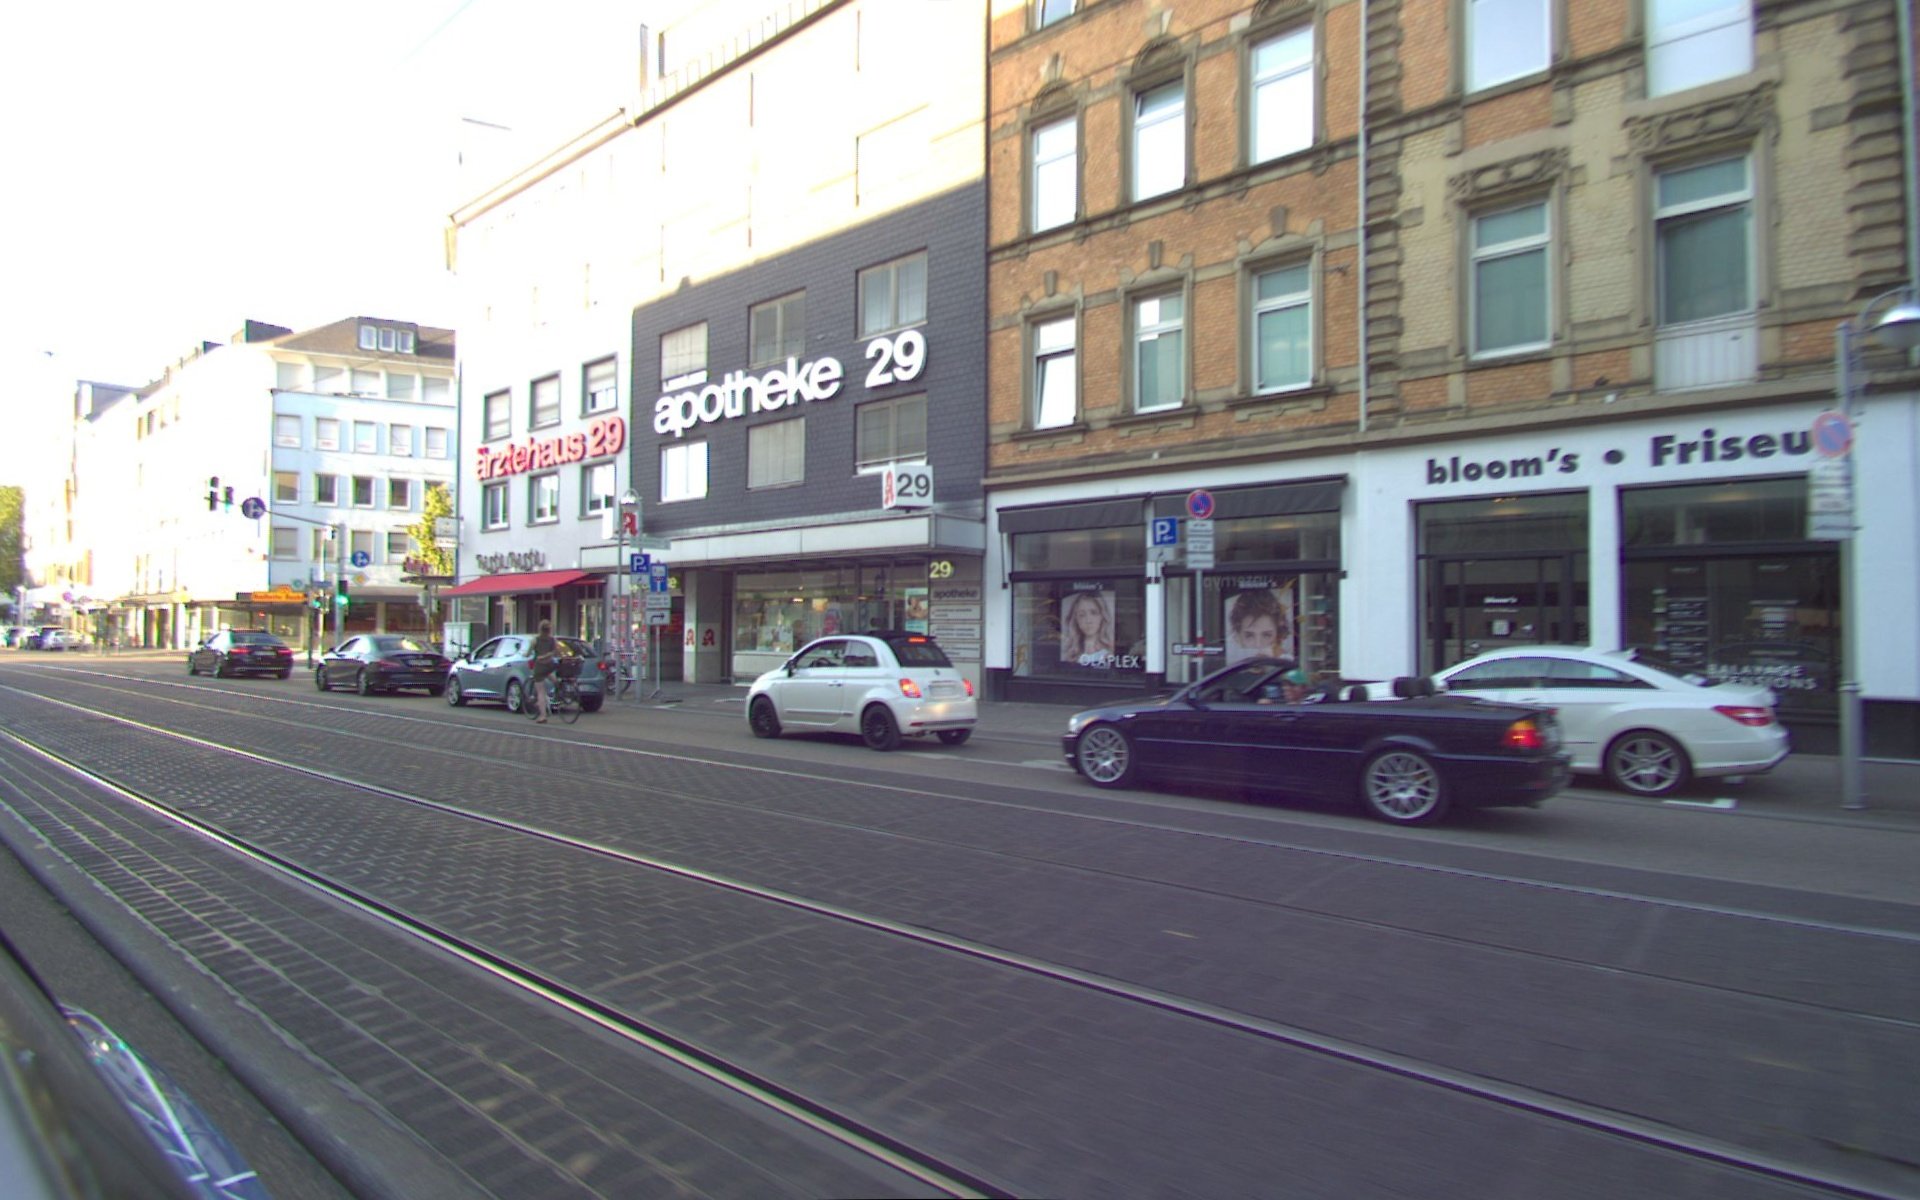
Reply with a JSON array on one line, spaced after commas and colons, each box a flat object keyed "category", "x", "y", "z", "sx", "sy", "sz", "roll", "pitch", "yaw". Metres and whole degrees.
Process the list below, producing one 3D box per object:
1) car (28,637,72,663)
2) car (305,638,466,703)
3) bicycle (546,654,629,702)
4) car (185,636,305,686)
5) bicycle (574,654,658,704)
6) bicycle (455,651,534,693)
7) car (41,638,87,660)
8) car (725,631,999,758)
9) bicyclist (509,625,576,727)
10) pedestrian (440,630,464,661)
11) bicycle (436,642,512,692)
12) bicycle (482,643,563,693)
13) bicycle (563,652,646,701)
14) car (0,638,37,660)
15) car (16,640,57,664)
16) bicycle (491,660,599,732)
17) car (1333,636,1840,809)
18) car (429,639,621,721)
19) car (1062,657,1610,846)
[{"category": "car", "x": -60.789, "y": 3.331, "z": 67.596, "sx": 4.000, "sy": 1.648, "sz": 1.823, "roll": -2, "pitch": -3, "yaw": 43}, {"category": "car", "x": -13.733, "y": 1.645, "z": 24.099, "sx": 4.561, "sy": 1.397, "sz": 1.895, "roll": -2, "pitch": -5, "yaw": 41}, {"category": "bicycle", "x": -8.874, "y": 1.846, "z": 24.192, "sx": 0.492, "sy": 0.991, "sz": 1.837, "roll": -2, "pitch": 0, "yaw": 40}, {"category": "car", "x": -21.689, "y": 1.829, "z": 30.637, "sx": 4.561, "sy": 1.397, "sz": 1.895, "roll": -2, "pitch": -5, "yaw": 41}, {"category": "bicycle", "x": -7.911, "y": 1.794, "z": 23.365, "sx": 0.462, "sy": 0.991, "sz": 1.837, "roll": -2, "pitch": 0, "yaw": 40}, {"category": "bicycle", "x": -12.606, "y": 1.939, "z": 27.465, "sx": 0.607, "sy": 0.991, "sz": 1.837, "roll": -2, "pitch": 0, "yaw": 40}, {"category": "car", "x": -57.310, "y": 3.112, "z": 64.685, "sx": 4.000, "sy": 1.304, "sz": 1.823, "roll": -2, "pitch": -3, "yaw": 43}, {"category": "car", "x": -1.422, "y": 1.222, "z": 13.962, "sx": 3.677, "sy": 1.517, "sz": 1.650, "roll": -2, "pitch": -5, "yaw": 40}, {"category": "bicyclist", "x": -6.684, "y": 1.186, "z": 16.198, "sx": 0.798, "sy": 1.577, "sz": 0.686, "roll": -2, "pitch": -3, "yaw": 39}, {"category": "pedestrian", "x": -28.578, "y": 2.562, "z": 56.943, "sx": 0.980, "sy": 1.739, "sz": 0.806, "roll": 0, "pitch": -1, "yaw": 2}, {"category": "bicycle", "x": -13.656, "y": 1.867, "z": 28.473, "sx": 0.607, "sy": 1.236, "sz": 1.837, "roll": -2, "pitch": 0, "yaw": 40}, {"category": "bicycle", "x": -11.482, "y": 1.763, "z": 26.601, "sx": 0.607, "sy": 1.143, "sz": 1.837, "roll": -2, "pitch": 0, "yaw": 40}, {"category": "bicycle", "x": -8.305, "y": 1.773, "z": 23.697, "sx": 0.462, "sy": 0.991, "sz": 1.837, "roll": -2, "pitch": 0, "yaw": 40}, {"category": "car", "x": -71.515, "y": 3.714, "z": 76.776, "sx": 4.000, "sy": 1.648, "sz": 1.823, "roll": -2, "pitch": -3, "yaw": 43}, {"category": "car", "x": -65.687, "y": 3.677, "z": 71.933, "sx": 4.000, "sy": 1.648, "sz": 1.823, "roll": -2, "pitch": -3, "yaw": 43}, {"category": "bicycle", "x": -6.649, "y": 1.497, "z": 16.158, "sx": 2.079, "sy": 1.042, "sz": 0.686, "roll": -2, "pitch": -2, "yaw": 39}, {"category": "car", "x": 6.405, "y": 1.124, "z": 10.715, "sx": 4.268, "sy": 1.400, "sz": 1.742, "roll": -2, "pitch": 0, "yaw": 39}, {"category": "car", "x": -8.388, "y": 1.474, "z": 19.378, "sx": 4.059, "sy": 1.397, "sz": 1.740, "roll": -2, "pitch": -5, "yaw": 41}, {"category": "car", "x": 3.139, "y": 1.171, "z": 8.997, "sx": 4.270, "sy": 1.237, "sz": 1.650, "roll": -2, "pitch": -5, "yaw": 40}]
